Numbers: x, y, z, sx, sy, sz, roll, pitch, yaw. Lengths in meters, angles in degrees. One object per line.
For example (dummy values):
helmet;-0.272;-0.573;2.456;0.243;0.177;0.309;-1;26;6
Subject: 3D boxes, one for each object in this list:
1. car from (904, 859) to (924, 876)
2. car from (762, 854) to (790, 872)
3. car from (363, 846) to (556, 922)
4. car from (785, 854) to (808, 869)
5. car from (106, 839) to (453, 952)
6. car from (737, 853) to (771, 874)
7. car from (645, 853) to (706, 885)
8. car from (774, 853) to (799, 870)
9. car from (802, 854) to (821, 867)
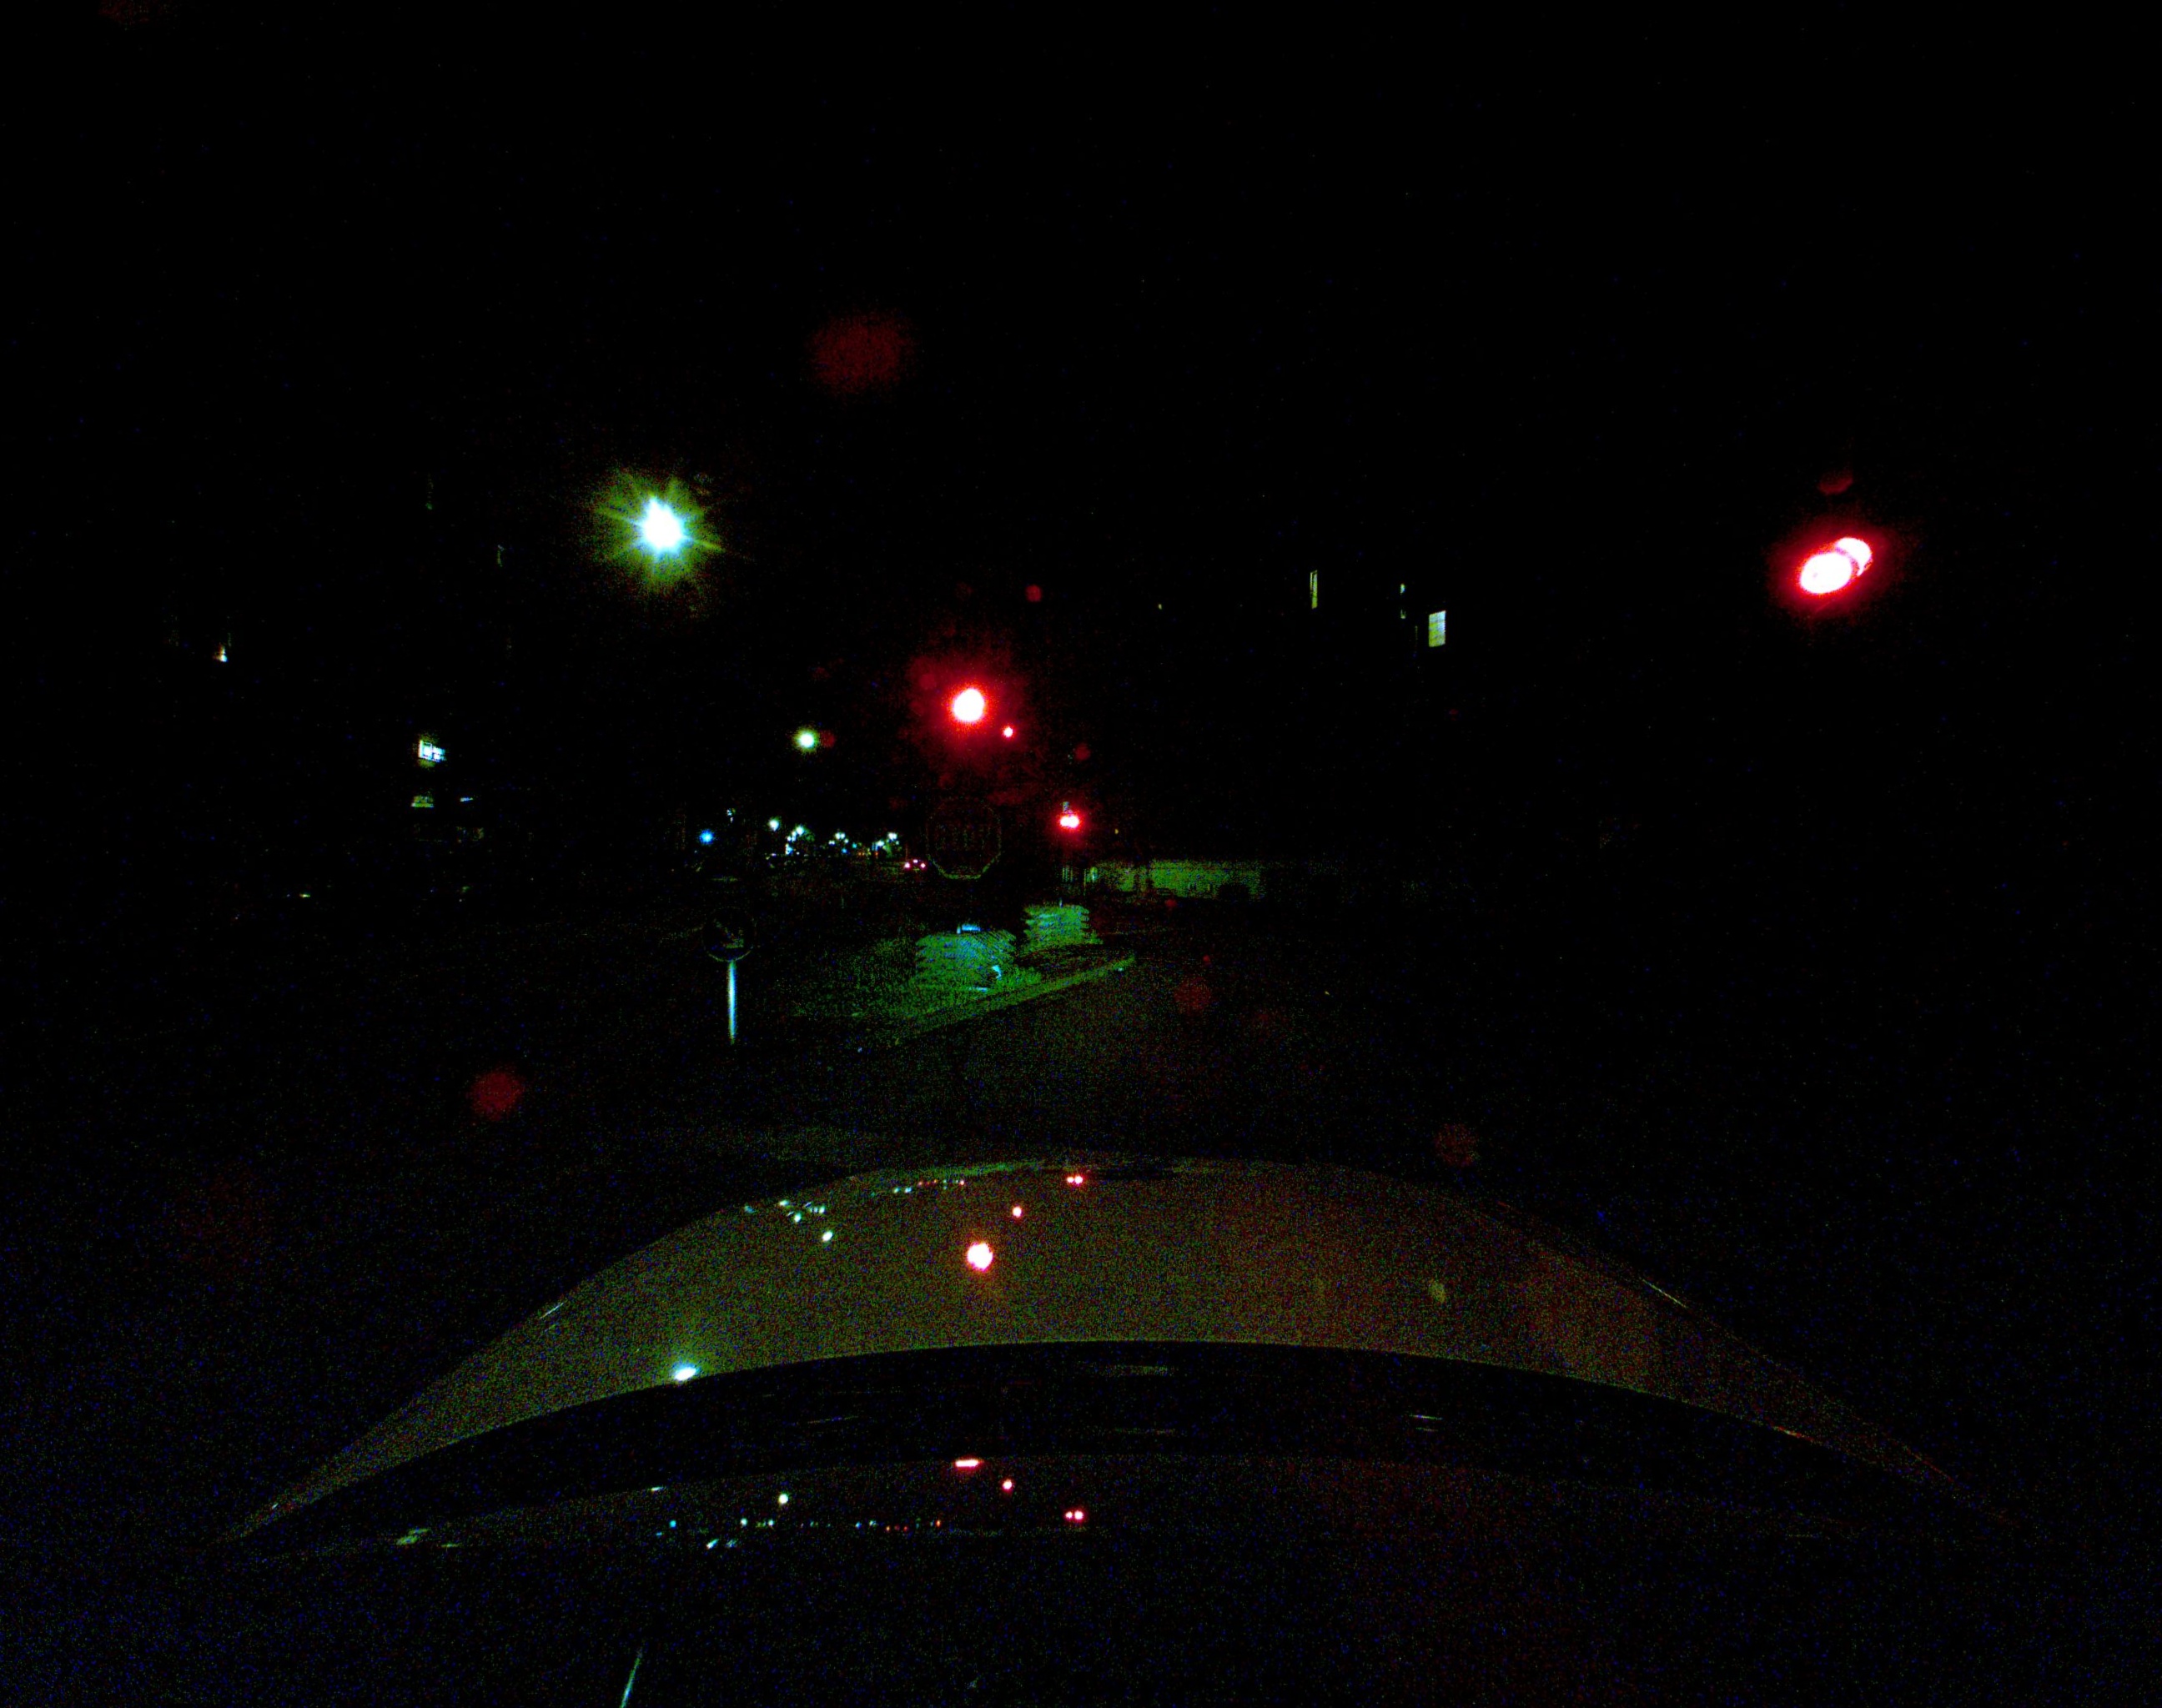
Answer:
car;-14.864;1.155;72.417;1.652;1.431;3.984;1;0;-12
car;-25.181;0.747;67.286;1.653;1.431;3.982;1;0;-13
car;-13.665;0.622;18.263;1.806;1.481;4.302;1;-1;-14
car;-27.890;0.739;79.841;1.653;1.431;3.982;1;0;-13
car;-12.583;0.579;13.302;1.901;1.471;4.432;3;-1;-13
car;-23.702;0.672;59.185;1.653;1.431;3.982;1;0;-13
car;-18.984;0.683;38.272;1.653;1.431;3.982;1;0;-13
car;-26.486;0.673;73.350;1.653;1.431;3.982;1;0;-13
car;-30.854;0.750;93.193;1.653;1.431;3.982;1;0;-13
